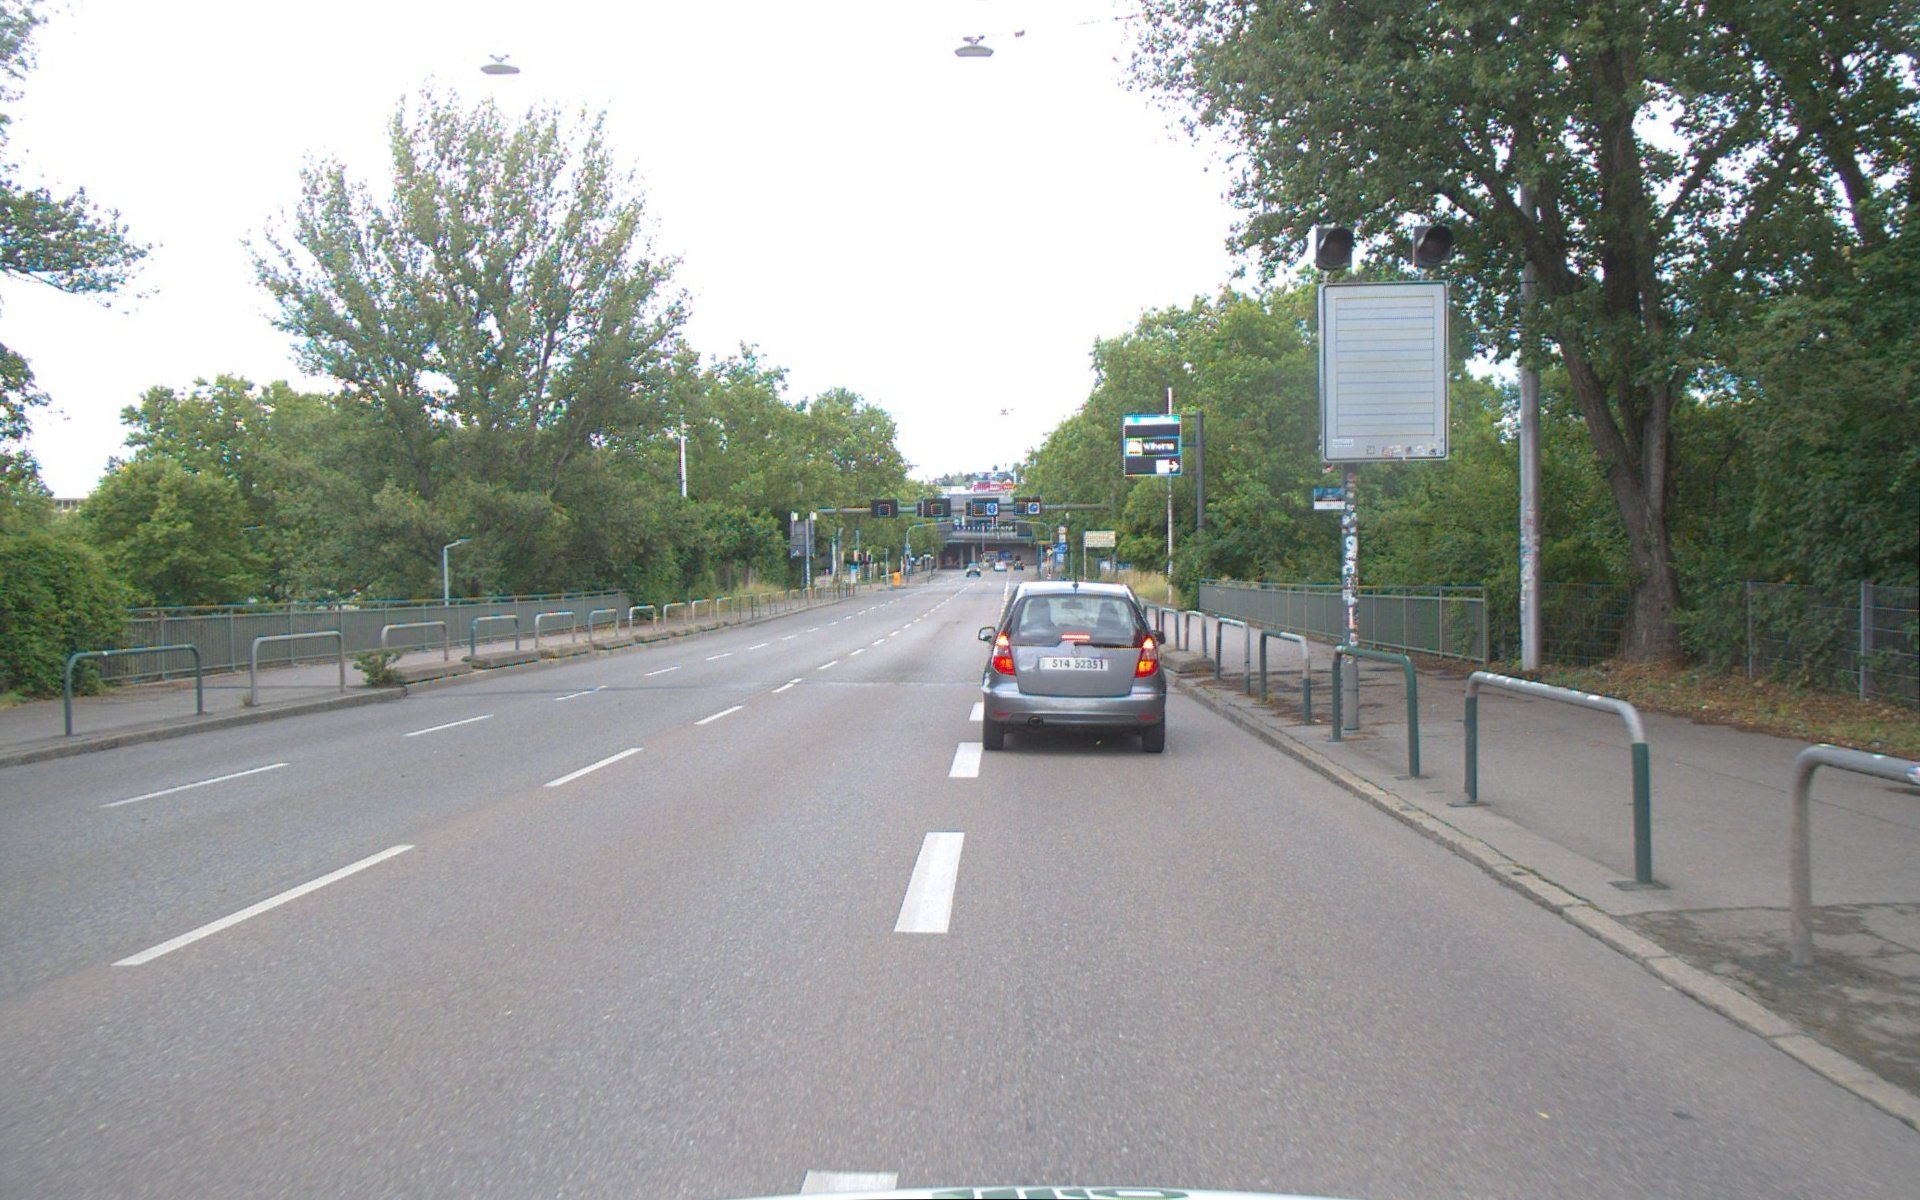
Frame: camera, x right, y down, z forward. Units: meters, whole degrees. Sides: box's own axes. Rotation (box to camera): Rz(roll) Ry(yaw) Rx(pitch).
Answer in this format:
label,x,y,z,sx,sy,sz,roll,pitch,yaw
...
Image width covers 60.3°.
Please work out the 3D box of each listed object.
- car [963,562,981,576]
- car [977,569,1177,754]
label,x,y,z,sx,sy,sz,roll,pitch,yaw
car,1.639,-4.048,217.565,1.951,1.689,4.520,-2,1,5
car,1.194,0.531,16.846,1.788,1.644,4.036,0,1,4
